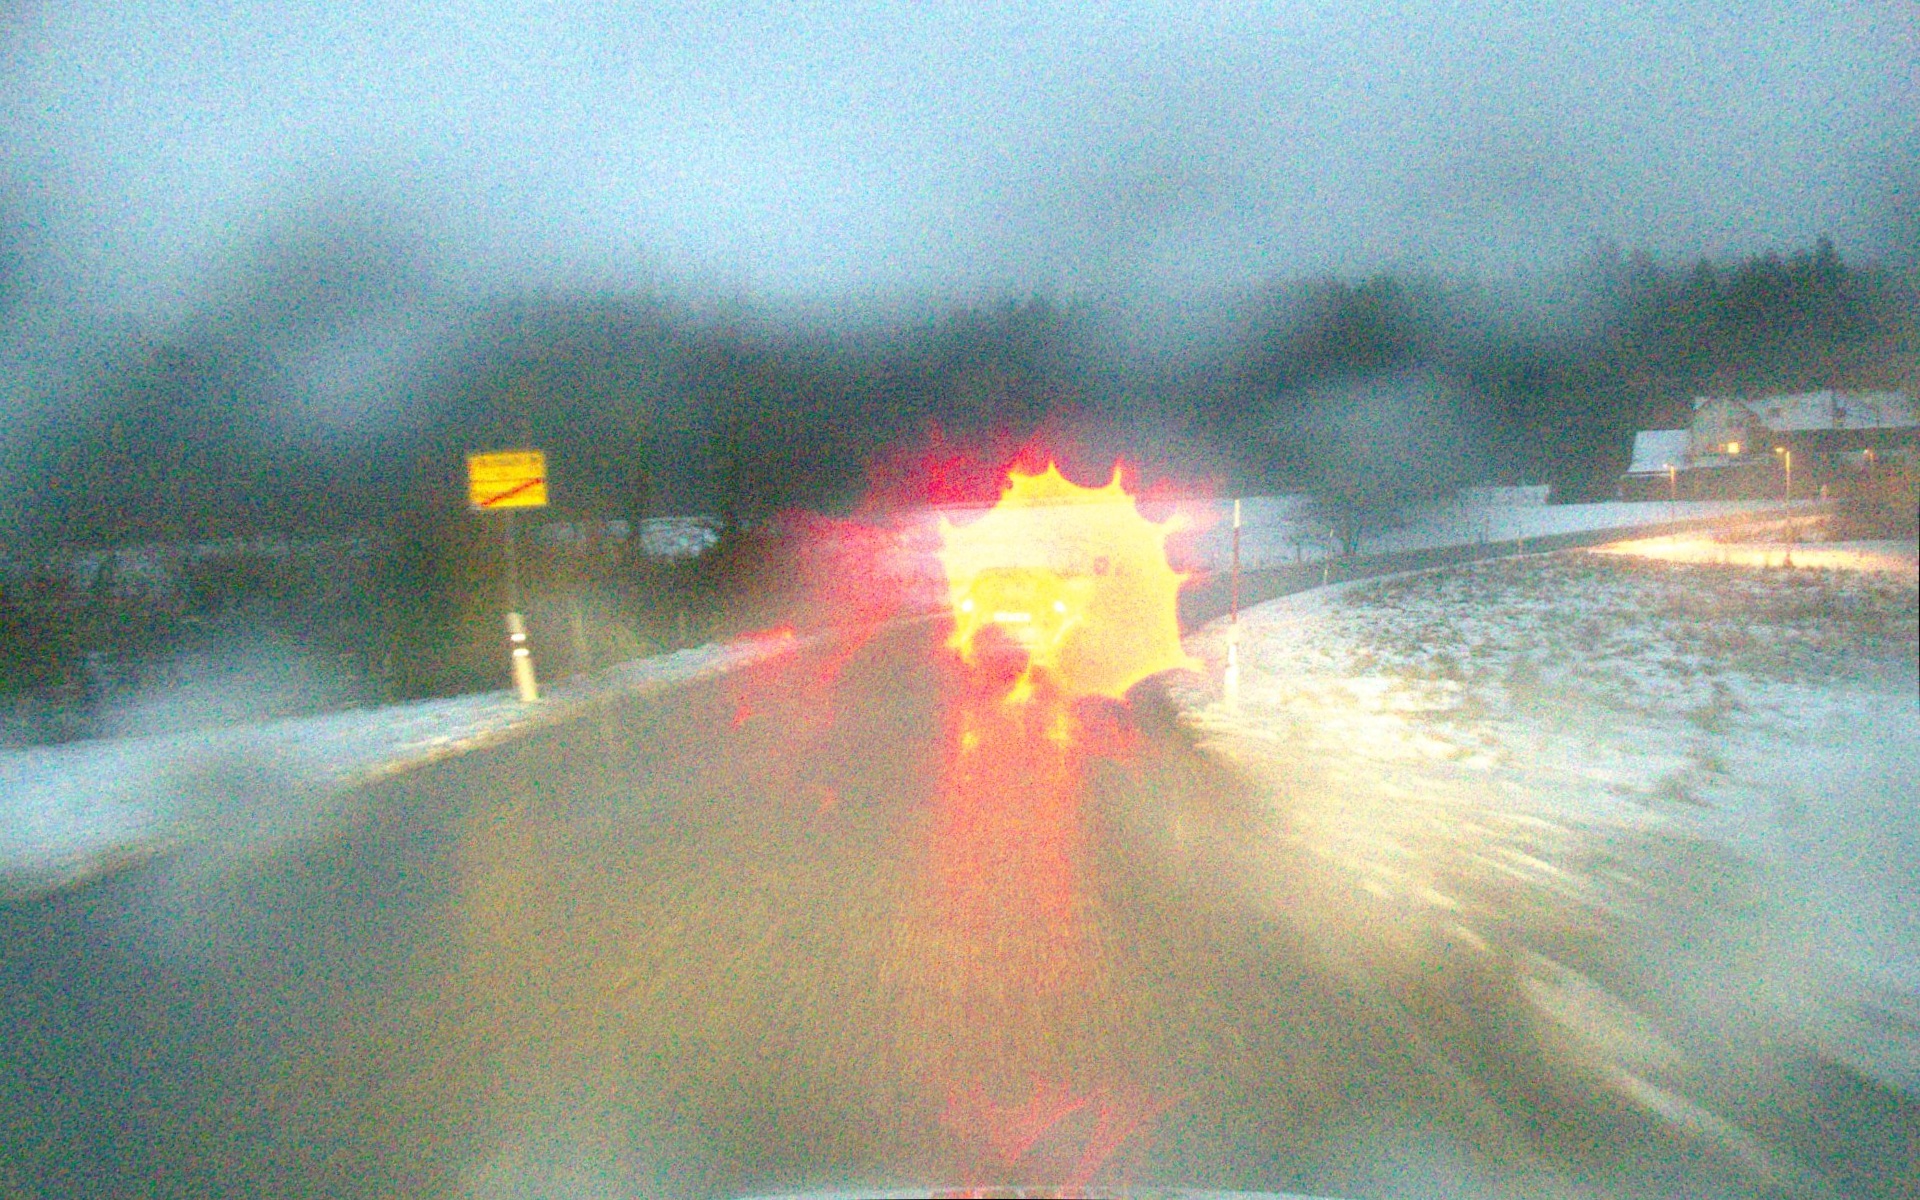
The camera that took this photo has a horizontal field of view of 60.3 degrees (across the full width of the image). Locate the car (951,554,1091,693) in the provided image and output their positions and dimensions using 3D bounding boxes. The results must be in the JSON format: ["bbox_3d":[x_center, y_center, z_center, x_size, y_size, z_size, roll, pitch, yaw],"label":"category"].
[{"bbox_3d":[0.813,0.299,24.069,1.785,1.828,3.577,-1,0,-2],"label":"car"}]
